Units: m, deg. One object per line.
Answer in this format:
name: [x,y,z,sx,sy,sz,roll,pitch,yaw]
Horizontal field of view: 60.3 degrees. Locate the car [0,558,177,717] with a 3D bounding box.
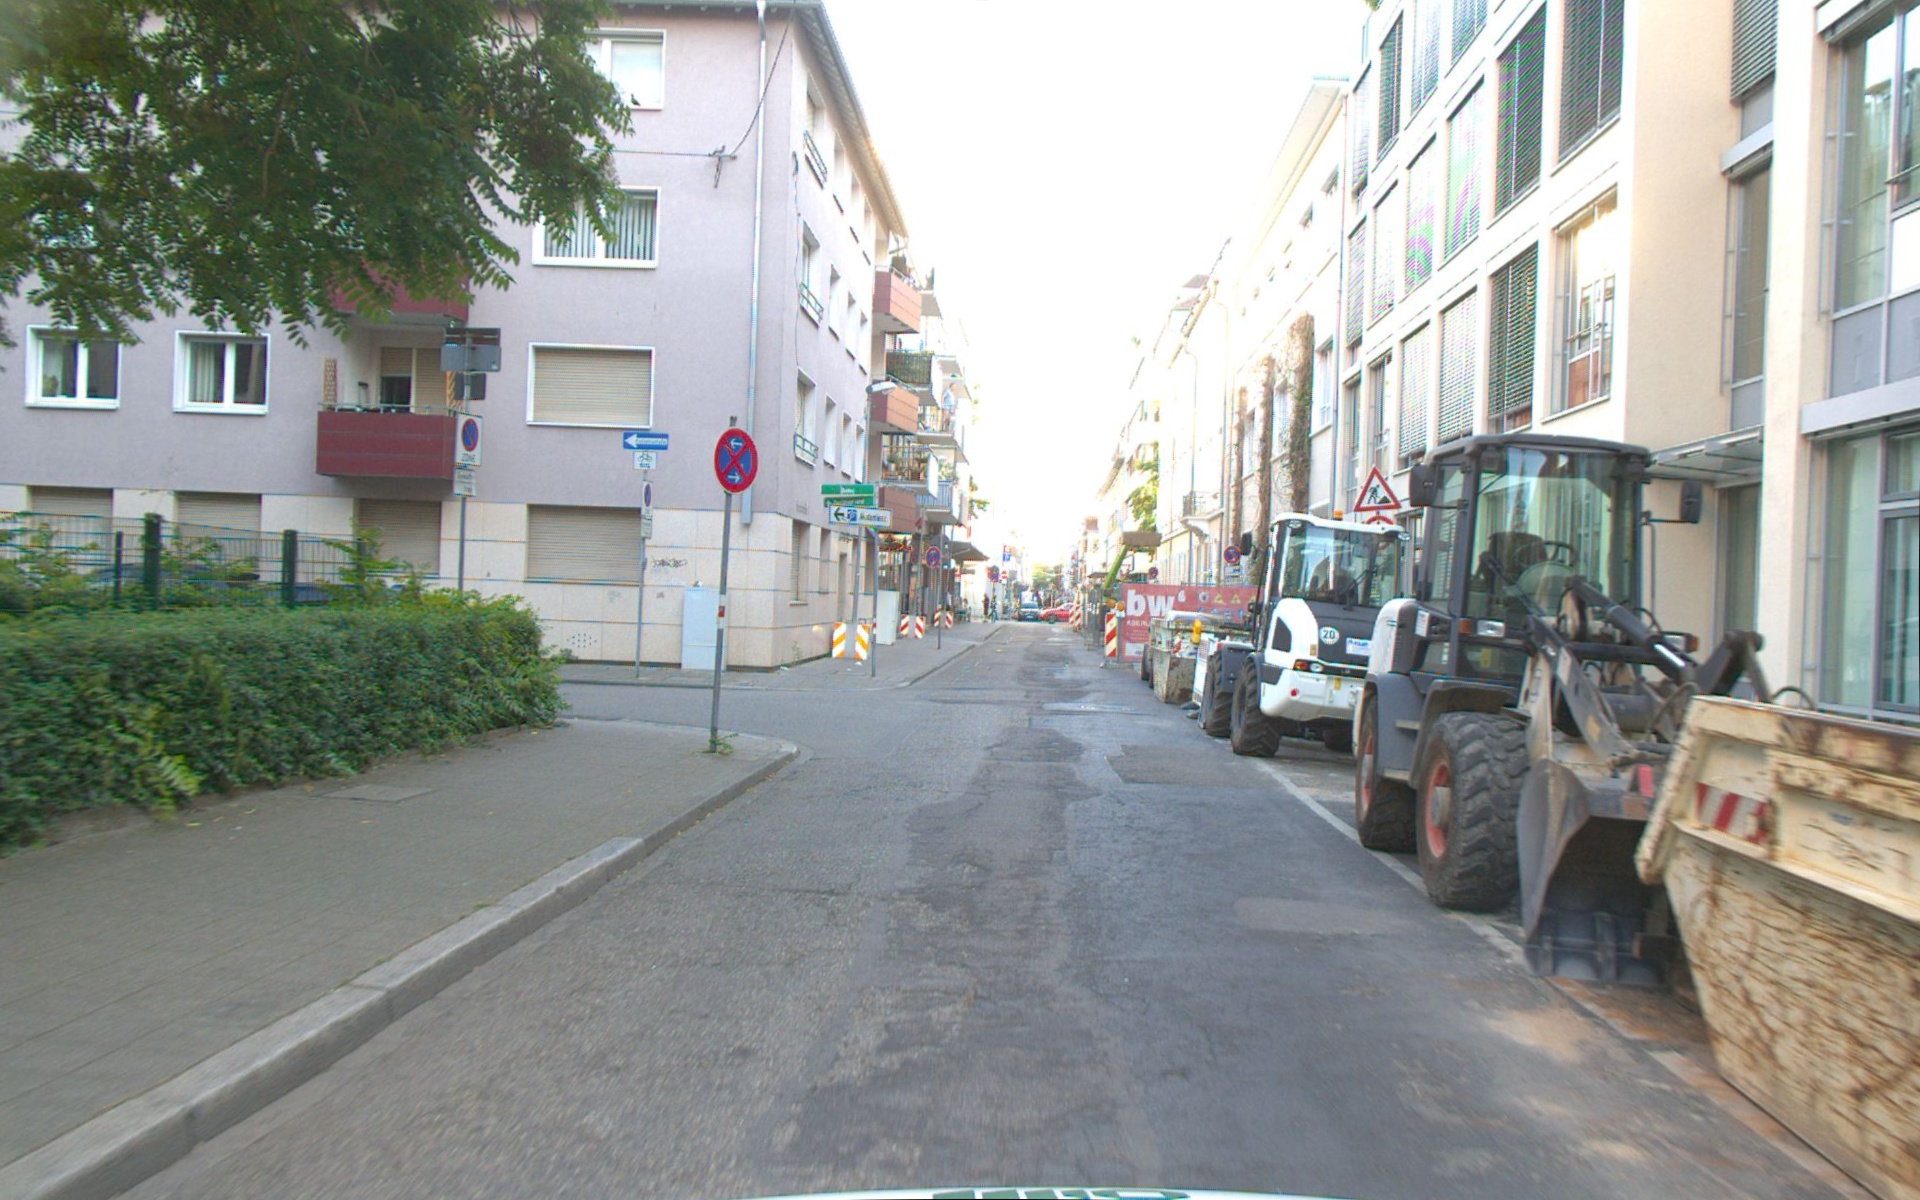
car: [-11.886,0.394,20.440,3.449,1.787,1.886,2,1,0]

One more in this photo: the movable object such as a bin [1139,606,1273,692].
movable object such as a bin: [4.603,0.876,31.476,2.003,1.436,3.975,2,0,1]

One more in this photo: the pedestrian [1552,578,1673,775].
pedestrian: [6.500,0.744,16.523,0.868,1.883,0.876,2,0,6]

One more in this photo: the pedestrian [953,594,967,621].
pedestrian: [0.016,0.394,90.713,0.650,1.463,0.533,2,0,6]

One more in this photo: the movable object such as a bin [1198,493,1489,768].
movable object such as a bin: [3.990,0.290,17.988,2.230,2.584,4.098,2,0,1]

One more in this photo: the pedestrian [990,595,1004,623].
pedestrian: [2.261,0.542,100.368,0.781,1.621,0.744,2,0,-1]

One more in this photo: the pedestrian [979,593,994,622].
pedestrian: [1.546,0.457,96.979,0.780,1.690,0.745,2,0,6]

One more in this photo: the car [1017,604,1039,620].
car: [5.202,0.898,126.650,1.505,1.154,3.121,2,0,0]

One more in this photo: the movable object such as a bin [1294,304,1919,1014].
movable object such as a bin: [3.540,0.224,9.303,2.230,2.739,5.650,2,0,1]

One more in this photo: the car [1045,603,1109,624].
car: [7.759,0.901,109.814,3.902,1.255,2.002,2,0,14]
